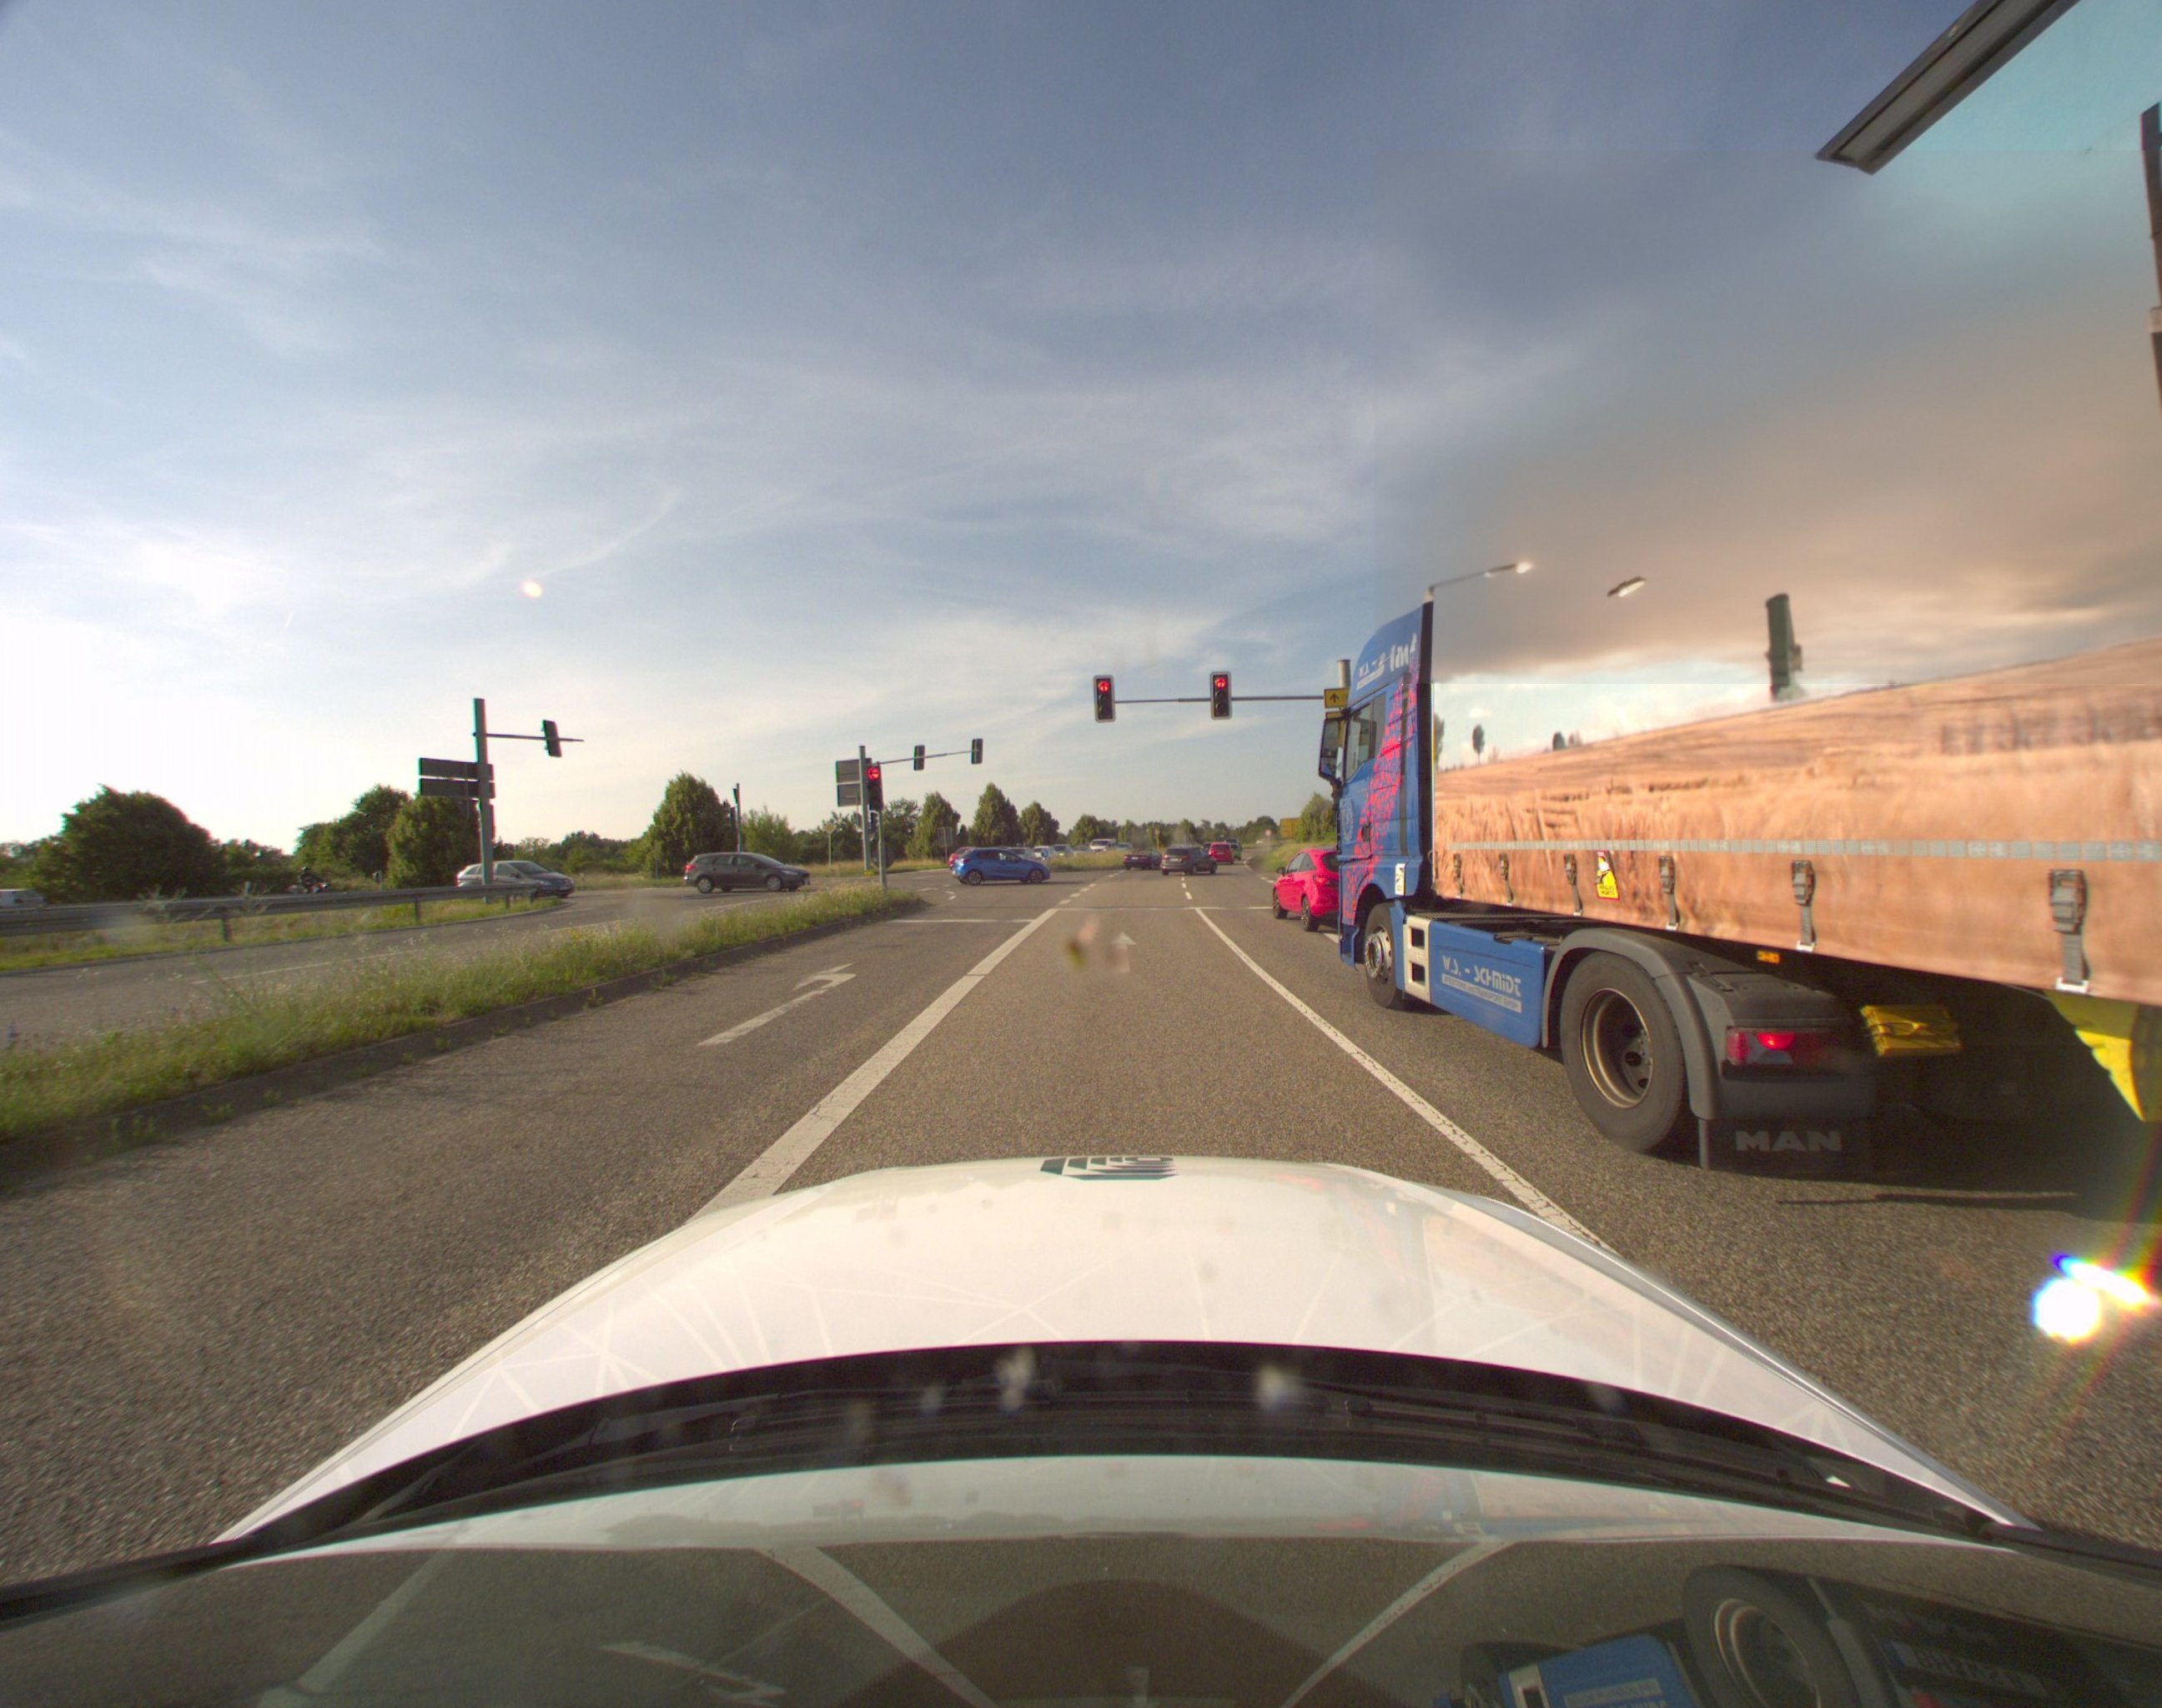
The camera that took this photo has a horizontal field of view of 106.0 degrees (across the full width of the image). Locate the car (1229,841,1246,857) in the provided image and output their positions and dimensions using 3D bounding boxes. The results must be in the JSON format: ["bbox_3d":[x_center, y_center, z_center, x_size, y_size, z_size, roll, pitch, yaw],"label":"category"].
[{"bbox_3d":[18.660,-0.580,97.118,1.897,1.734,4.290,-1,-1,11],"label":"car"}]

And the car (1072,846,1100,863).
[{"bbox_3d":[0.468,0.050,72.760,1.775,1.385,4.062,-2,0,9],"label":"car"}]

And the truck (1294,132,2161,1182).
[{"bbox_3d":[4.071,-0.894,6.503,3.288,4.657,5.733,-1,0,1],"label":"truck"}]

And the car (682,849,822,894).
[{"bbox_3d":[-12.267,0.626,30.537,4.494,1.565,1.818,-1,0,5],"label":"car"}]

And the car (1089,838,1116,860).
[{"bbox_3d":[2.199,-0.499,81.989,1.912,2.078,4.258,-2,0,13],"label":"car"}]

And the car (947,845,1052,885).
[{"bbox_3d":[-3.337,0.436,33.378,3.985,1.492,1.767,-1,0,-20],"label":"car"}]

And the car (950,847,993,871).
[{"bbox_3d":[-7.411,0.317,55.535,1.710,1.488,3.815,-2,0,10],"label":"car"}]

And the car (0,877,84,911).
[{"bbox_3d":[-52.698,2.004,40.212,3.988,1.540,1.993,-2,0,-11],"label":"car"}]

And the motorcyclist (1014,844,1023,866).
[{"bbox_3d":[-5.134,0.062,67.062,0.659,1.747,0.605,-2,0,2],"label":"motorcyclist"}]

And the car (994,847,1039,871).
[{"bbox_3d":[-4.167,0.292,53.351,1.775,1.488,4.663,-2,0,9],"label":"car"}]

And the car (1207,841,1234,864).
[{"bbox_3d":[10.129,-0.103,59.110,1.883,1.565,4.289,-1,-1,10],"label":"car"}]

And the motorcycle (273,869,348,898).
[{"bbox_3d":[-31.730,1.225,33.563,2.158,1.124,0.940,-1,0,-2],"label":"motorcycle"}]

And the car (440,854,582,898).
[{"bbox_3d":[-22.175,0.833,31.820,4.174,1.605,1.788,-1,-1,-4],"label":"car"}]

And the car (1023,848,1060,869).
[{"bbox_3d":[-2.891,0.314,60.448,1.775,1.433,4.320,-2,0,9],"label":"car"}]

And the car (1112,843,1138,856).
[{"bbox_3d":[5.020,-0.530,92.262,1.771,1.385,4.071,-2,0,19],"label":"car"}]

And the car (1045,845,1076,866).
[{"bbox_3d":[-1.653,0.087,66.708,1.775,1.568,4.062,-2,0,9],"label":"car"}]

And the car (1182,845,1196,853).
[{"bbox_3d":[19.131,-0.908,144.355,1.771,1.385,4.071,-2,0,19],"label":"car"}]

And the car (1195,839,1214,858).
[{"bbox_3d":[13.835,-0.589,91.274,1.898,1.915,4.286,-1,-1,7],"label":"car"}]

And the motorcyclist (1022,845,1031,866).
[{"bbox_3d":[-4.746,0.107,71.373,0.659,1.817,0.605,-2,0,2],"label":"motorcyclist"}]

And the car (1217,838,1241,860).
[{"bbox_3d":[12.794,-0.385,70.621,1.898,1.800,4.288,-1,-1,8],"label":"car"}]

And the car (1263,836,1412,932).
[{"bbox_3d":[4.703,0.496,15.462,1.690,1.549,3.751,-2,0,1],"label":"car"}]

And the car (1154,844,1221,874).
[{"bbox_3d":[5.401,0.259,40.930,1.896,1.416,3.819,-1,-1,33],"label":"car"}]

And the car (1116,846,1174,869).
[{"bbox_3d":[3.914,0.200,49.457,1.891,1.323,4.304,-1,-1,29],"label":"car"}]

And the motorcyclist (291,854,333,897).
[{"bbox_3d":[-31.656,0.871,33.522,0.827,1.758,0.906,-1,0,-2],"label":"motorcyclist"}]
